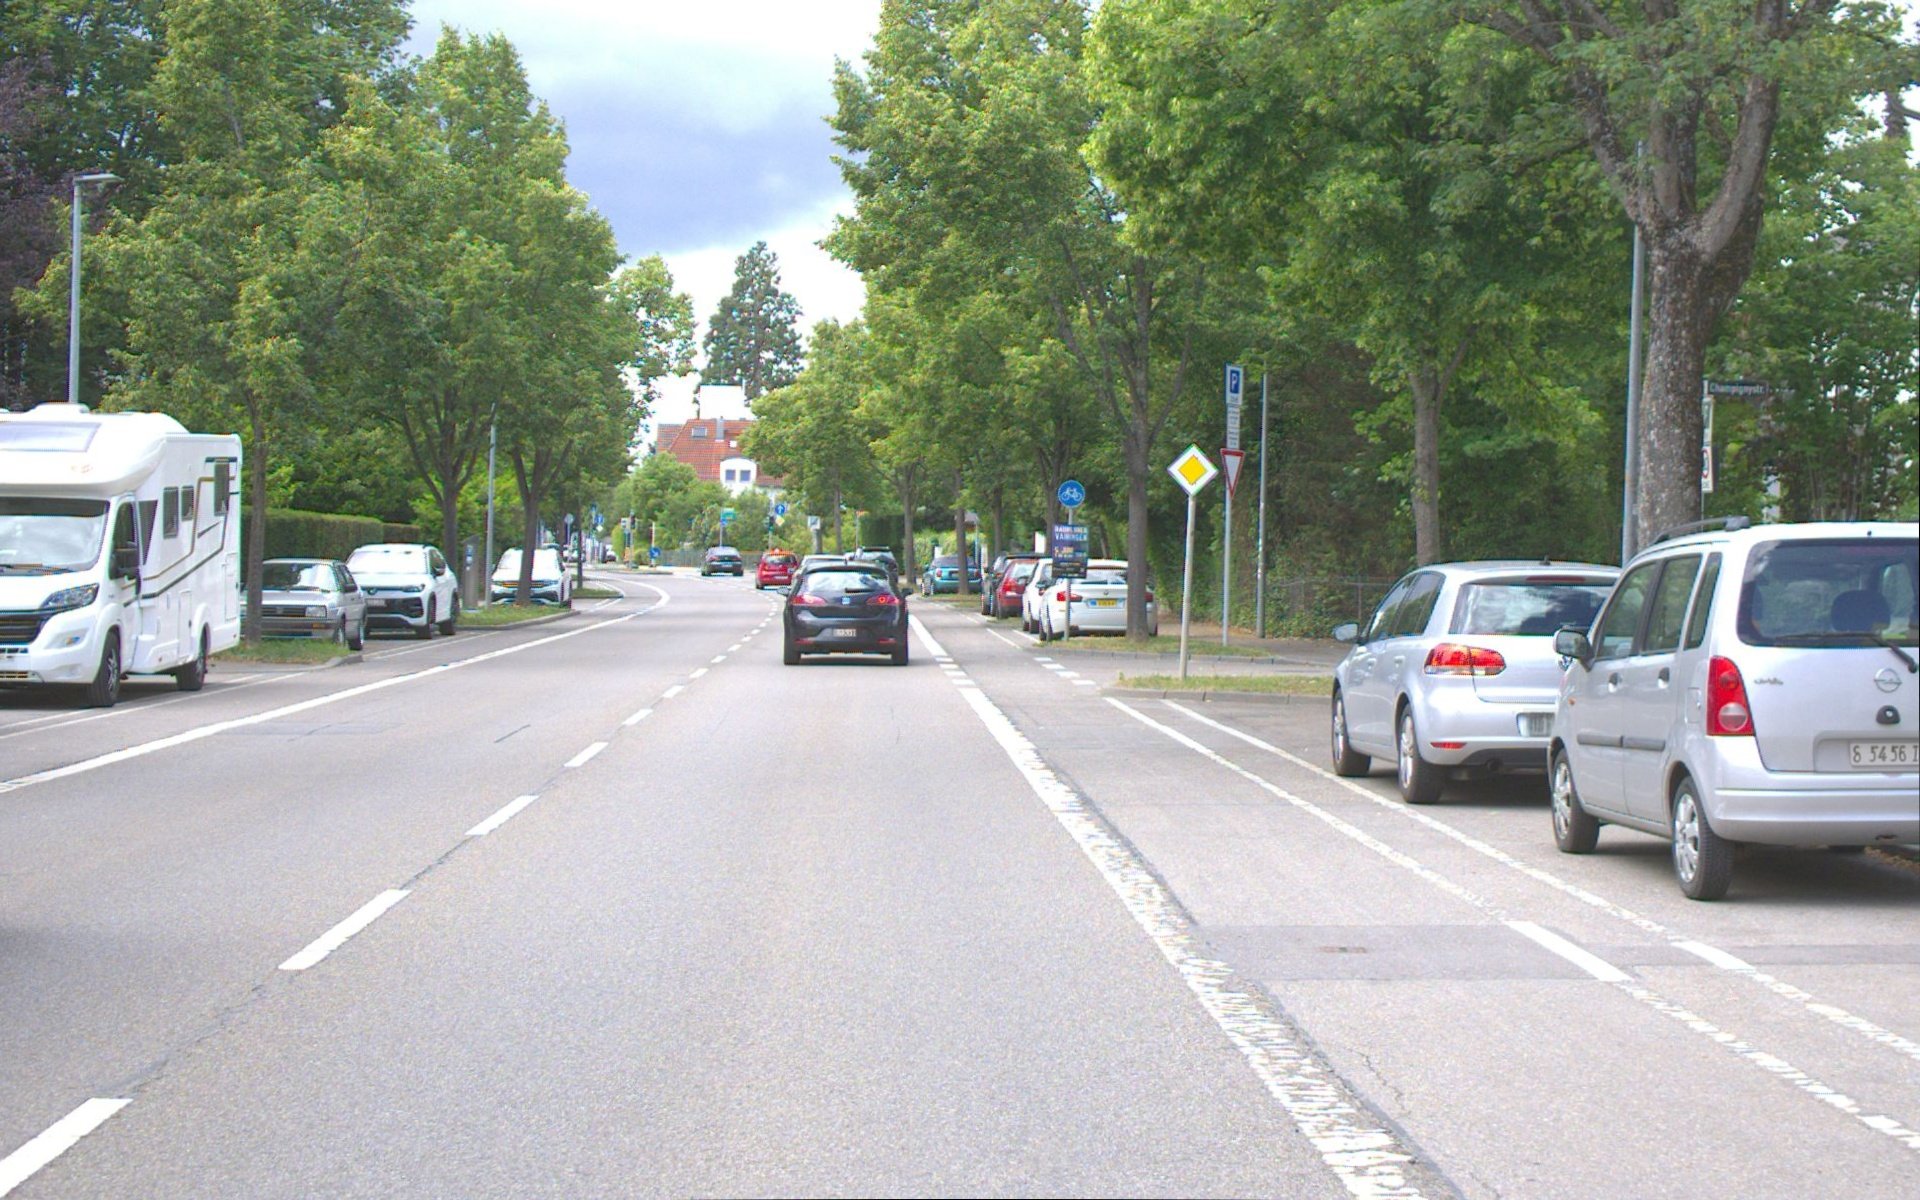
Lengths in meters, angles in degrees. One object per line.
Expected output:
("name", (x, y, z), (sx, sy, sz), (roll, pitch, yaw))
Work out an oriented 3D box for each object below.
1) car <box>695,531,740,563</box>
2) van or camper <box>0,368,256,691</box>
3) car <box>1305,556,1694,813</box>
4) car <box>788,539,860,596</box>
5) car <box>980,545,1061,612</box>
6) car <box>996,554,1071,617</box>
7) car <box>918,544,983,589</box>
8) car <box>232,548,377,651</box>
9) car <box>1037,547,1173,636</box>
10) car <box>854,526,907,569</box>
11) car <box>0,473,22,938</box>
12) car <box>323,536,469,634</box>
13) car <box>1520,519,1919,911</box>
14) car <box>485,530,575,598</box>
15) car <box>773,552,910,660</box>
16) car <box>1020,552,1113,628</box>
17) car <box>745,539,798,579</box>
("car", (-11.815, -2.576, 167.404), (1.993, 1.503, 4.001), (1, 0, -7))
("van or camper", (-9.255, -0.717, 35.808), (2.435, 2.999, 7.693), (0, 1, -1))
("car", (3.358, 0.467, 22.150), (1.687, 1.488, 4.228), (0, 1, -2))
("car", (-3.854, -0.928, 97.137), (1.993, 1.552, 4.001), (0, 1, -3))
("car", (1.488, -0.549, 85.734), (1.638, 1.610, 4.170), (1, 1, -4))
("car", (1.694, -0.364, 80.261), (1.638, 1.415, 4.000), (0, 1, 0))
("car", (-0.334, -1.135, 115.229), (1.682, 1.427, 4.045), (0, 1, -7))
("car", (-9.833, -0.043, 51.824), (1.555, 1.465, 4.452), (1, 1, -3))
("car", (2.475, -0.179, 59.931), (2.021, 1.438, 5.025), (1, 1, -1))
("car", (-3.310, -2.176, 142.713), (1.788, 1.765, 3.983), (1, 1, -7))
("car", (-4.518, 0.431, 11.170), (1.760, 1.797, 4.769), (0, 1, -2))
("car", (-10.067, -0.290, 61.635), (1.817, 1.646, 4.699), (1, 1, 0))
("car", (3.844, 0.467, 16.446), (1.632, 1.660, 3.648), (0, 1, -1))
("car", (-11.063, -0.939, 88.767), (1.873, 1.682, 4.866), (0, 1, -2))
("car", (-1.698, 0.064, 48.167), (1.783, 1.444, 3.558), (1, 1, -4))
("car", (2.093, -0.217, 68.371), (1.615, 1.455, 3.657), (0, 1, -2))
("car", (-7.318, -1.594, 133.367), (1.993, 1.525, 4.001), (0, 1, -3))
